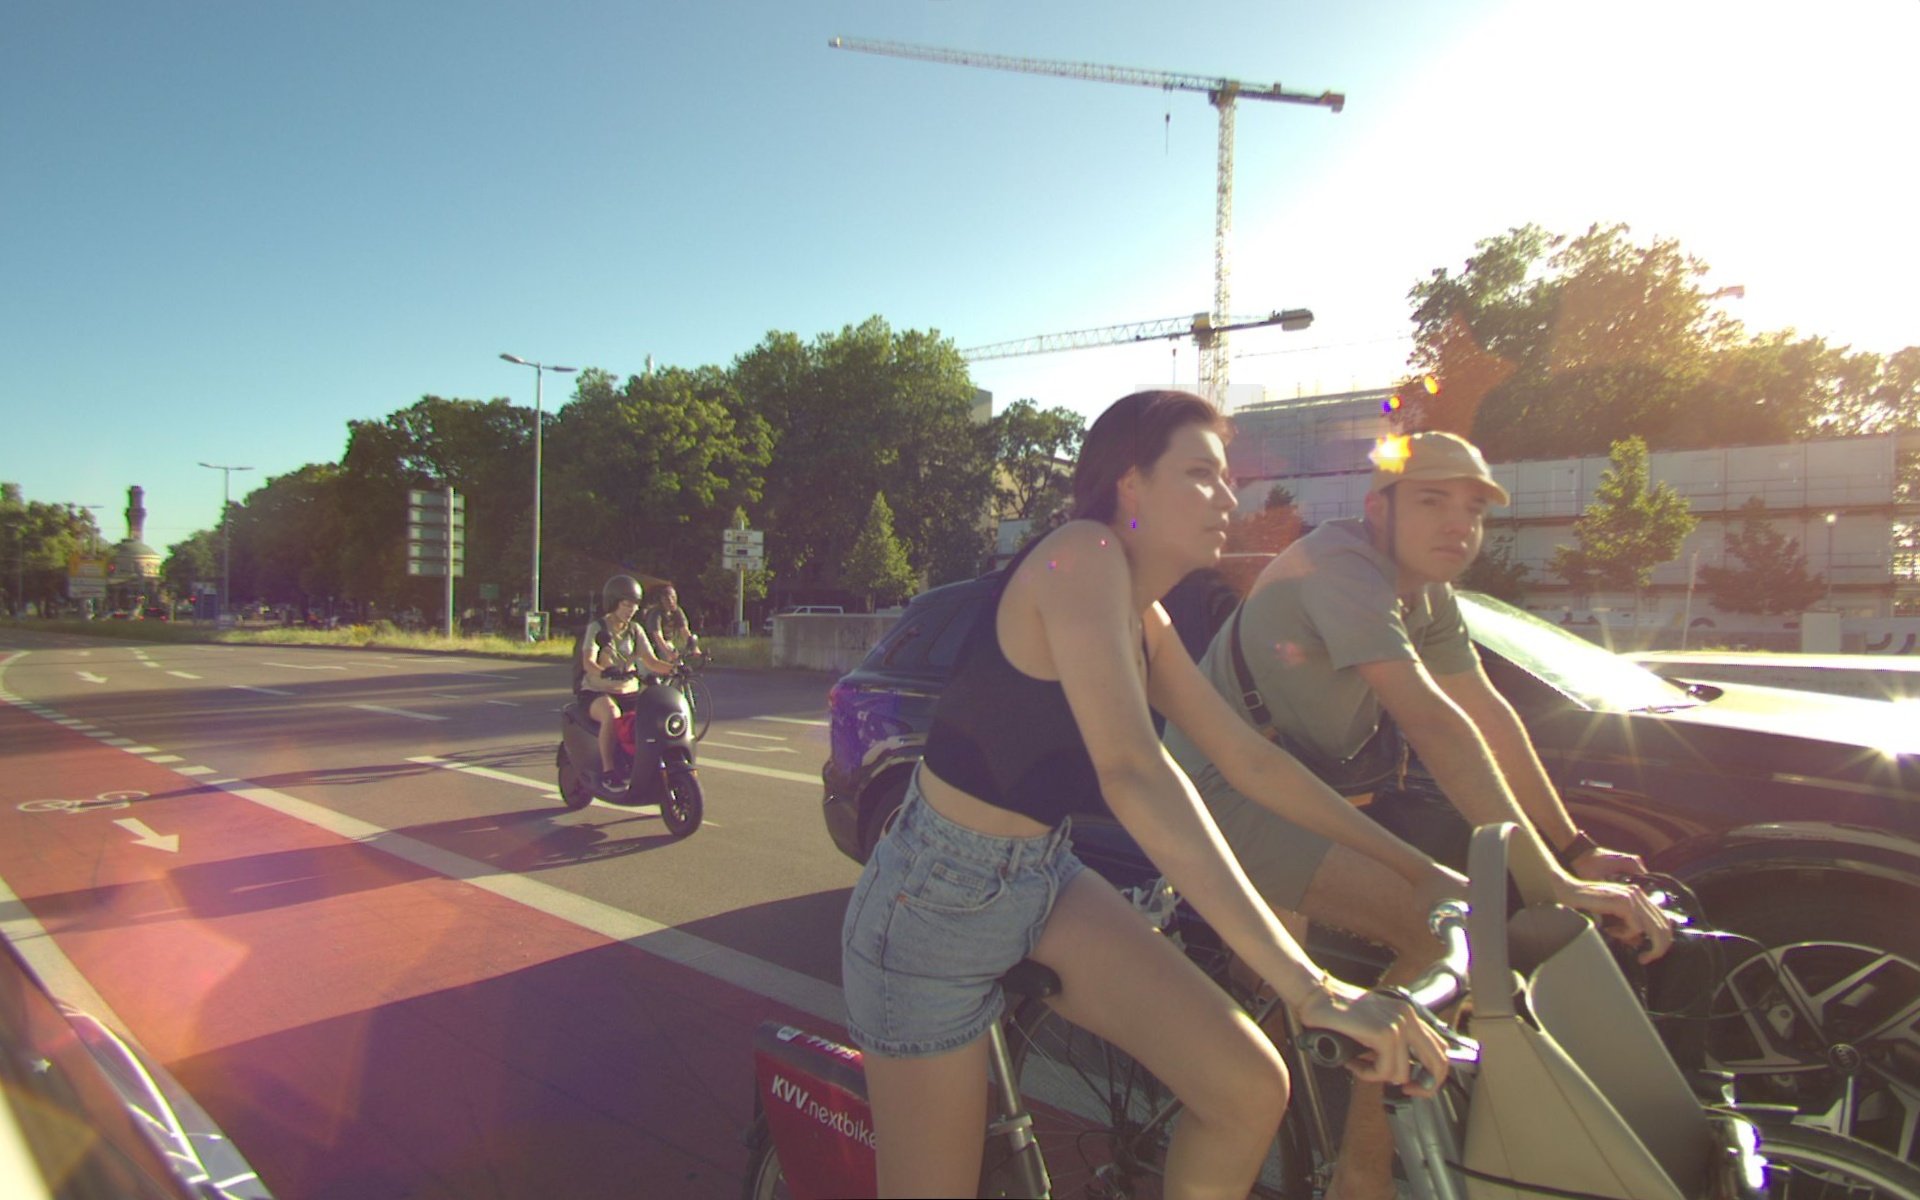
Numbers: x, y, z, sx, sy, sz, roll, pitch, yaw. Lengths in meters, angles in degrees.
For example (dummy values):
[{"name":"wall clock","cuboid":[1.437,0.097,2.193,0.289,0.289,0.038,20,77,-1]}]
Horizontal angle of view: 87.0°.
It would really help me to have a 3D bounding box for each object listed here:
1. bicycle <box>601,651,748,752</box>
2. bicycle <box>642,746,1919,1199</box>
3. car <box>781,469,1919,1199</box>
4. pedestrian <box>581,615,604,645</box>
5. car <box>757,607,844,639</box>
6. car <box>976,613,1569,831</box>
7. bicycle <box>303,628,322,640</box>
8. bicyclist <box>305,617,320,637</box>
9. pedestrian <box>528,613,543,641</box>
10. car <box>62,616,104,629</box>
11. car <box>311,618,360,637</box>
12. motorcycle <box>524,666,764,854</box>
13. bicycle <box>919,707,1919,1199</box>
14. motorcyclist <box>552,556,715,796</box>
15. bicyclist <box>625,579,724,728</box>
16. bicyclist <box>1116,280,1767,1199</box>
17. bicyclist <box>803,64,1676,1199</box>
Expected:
[{"name":"bicycle","cuboid":[-3.099,1.048,10.870,1.910,0.915,0.616,-1,-1,43]},{"name":"bicycle","cuboid":[0.414,0.830,1.173,1.799,1.102,0.643,-1,-2,41]},{"name":"car","cuboid":[1.715,0.574,3.960,4.787,1.675,2.172,0,-1,39]},{"name":"pedestrian","cuboid":[-23.100,1.873,63.588,0.964,1.796,0.984,0,0,41]},{"name":"car","cuboid":[-9.876,1.439,62.905,2.000,1.906,5.255,-2,-2,43]},{"name":"car","cuboid":[2.434,0.806,8.627,4.522,1.362,1.753,0,0,40]},{"name":"bicycle","cuboid":[-44.365,2.300,69.321,1.979,0.810,0.609,-1,-2,42]},{"name":"bicyclist","cuboid":[-44.359,1.841,69.327,0.768,1.377,0.609,-1,-2,41]},{"name":"pedestrian","cuboid":[-27.246,1.721,64.972,0.697,1.740,0.656,-1,-2,41]},{"name":"car","cuboid":[-106.833,2.751,123.349,1.619,1.463,3.718,0,0,42]},{"name":"car","cuboid":[-40.097,1.776,64.947,3.768,1.141,1.598,0,0,40]},{"name":"motorcycle","cuboid":[-2.188,0.992,6.845,0.746,0.976,1.961,0,-1,-44]},{"name":"bicycle","cuboid":[0.803,0.826,1.754,1.815,1.125,0.617,-1,-2,41]},{"name":"motorcyclist","cuboid":[-2.229,0.476,6.899,0.746,1.495,0.882,0,-1,-45]},{"name":"bicyclist","cuboid":[-3.062,0.548,10.841,0.938,1.514,0.616,-1,-1,42]},{"name":"bicyclist","cuboid":[0.818,0.407,1.762,0.894,1.587,0.617,-1,-2,40]},{"name":"bicyclist","cuboid":[0.330,0.393,1.250,0.847,1.554,0.643,-1,-2,41]}]
